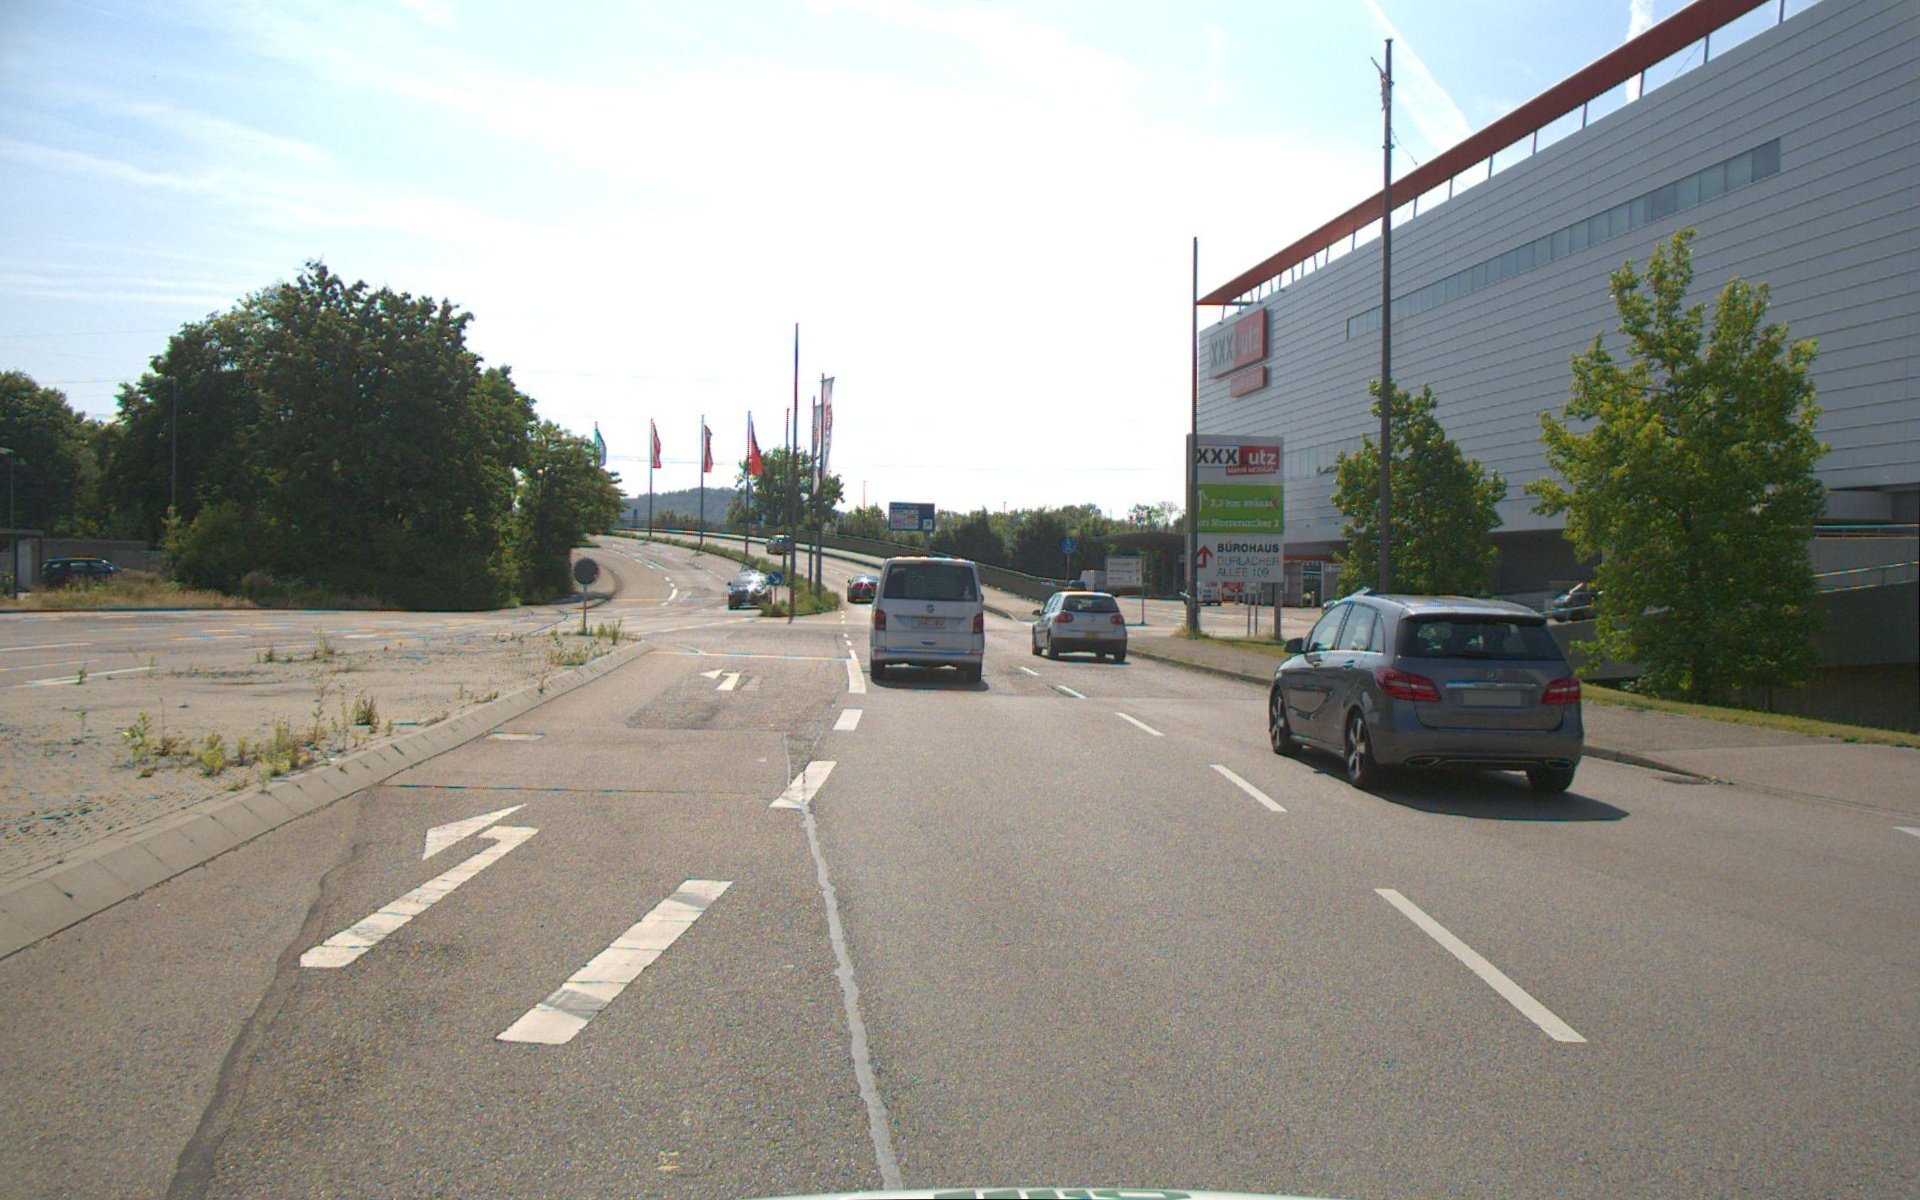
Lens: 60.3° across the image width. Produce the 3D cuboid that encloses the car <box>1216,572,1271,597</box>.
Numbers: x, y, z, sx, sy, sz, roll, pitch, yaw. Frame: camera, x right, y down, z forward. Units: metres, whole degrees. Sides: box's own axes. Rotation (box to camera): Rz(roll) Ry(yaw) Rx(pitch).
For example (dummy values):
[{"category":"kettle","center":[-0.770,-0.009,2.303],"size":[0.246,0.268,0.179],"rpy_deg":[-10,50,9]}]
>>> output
[{"category":"car","center":[23.213,-1.270,135.414],"size":[4.107,1.962,1.774],"rpy_deg":[2,1,-6]}]

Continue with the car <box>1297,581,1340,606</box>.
[{"category":"car","center":[23.866,-0.434,110.187],"size":[1.640,1.535,4.090],"rpy_deg":[2,1,-5]}]

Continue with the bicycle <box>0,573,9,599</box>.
[{"category":"bicycle","center":[-40.764,-0.595,69.660],"size":[0.575,1.110,1.706],"rpy_deg":[1,1,-5]}]

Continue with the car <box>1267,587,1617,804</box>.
[{"category":"car","center":[4.036,0.707,14.585],"size":[1.738,1.566,4.136],"rpy_deg":[2,1,-2]}]

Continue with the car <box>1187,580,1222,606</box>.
[{"category":"car","center":[18.418,-0.543,124.573],"size":[1.640,1.782,4.090],"rpy_deg":[1,1,-5]}]

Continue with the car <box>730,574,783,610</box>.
[{"category":"car","center":[-9.674,-0.398,78.930],"size":[1.876,1.634,4.272],"rpy_deg":[1,1,1]}]

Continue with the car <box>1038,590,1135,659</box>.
[{"category":"car","center":[2.802,0.514,37.305],"size":[1.634,1.439,3.679],"rpy_deg":[1,0,-4]}]

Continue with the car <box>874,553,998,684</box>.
[{"category":"car","center":[-0.480,0.259,27.891],"size":[1.879,2.010,4.295],"rpy_deg":[1,1,-3]}]

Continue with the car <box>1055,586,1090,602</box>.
[{"category":"car","center":[10.872,-0.615,160.225],"size":[1.962,1.445,3.980],"rpy_deg":[3,-1,-17]}]

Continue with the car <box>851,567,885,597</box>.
[{"category":"car","center":[-4.957,-0.983,88.970],"size":[1.502,1.505,3.242],"rpy_deg":[2,1,-8]}]

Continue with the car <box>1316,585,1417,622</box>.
[{"category":"car","center":[19.487,0.155,79.421],"size":[4.342,1.642,1.834],"rpy_deg":[-1,2,-10]}]

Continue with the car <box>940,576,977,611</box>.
[{"category":"car","center":[-0.092,-0.322,78.905],"size":[1.501,1.505,3.594],"rpy_deg":[2,2,-4]}]

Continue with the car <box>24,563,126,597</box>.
[{"category":"car","center":[-40.419,-0.916,75.622],"size":[4.053,1.445,1.712],"rpy_deg":[1,-1,-29]}]

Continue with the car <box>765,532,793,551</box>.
[{"category":"car","center":[-15.465,-5.025,141.279],"size":[1.509,1.505,3.404],"rpy_deg":[2,0,-21]}]

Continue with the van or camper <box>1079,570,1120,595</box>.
[{"category":"van or camper","center":[14.691,-1.827,173.936],"size":[2.059,2.216,5.427],"rpy_deg":[3,-1,29]}]
